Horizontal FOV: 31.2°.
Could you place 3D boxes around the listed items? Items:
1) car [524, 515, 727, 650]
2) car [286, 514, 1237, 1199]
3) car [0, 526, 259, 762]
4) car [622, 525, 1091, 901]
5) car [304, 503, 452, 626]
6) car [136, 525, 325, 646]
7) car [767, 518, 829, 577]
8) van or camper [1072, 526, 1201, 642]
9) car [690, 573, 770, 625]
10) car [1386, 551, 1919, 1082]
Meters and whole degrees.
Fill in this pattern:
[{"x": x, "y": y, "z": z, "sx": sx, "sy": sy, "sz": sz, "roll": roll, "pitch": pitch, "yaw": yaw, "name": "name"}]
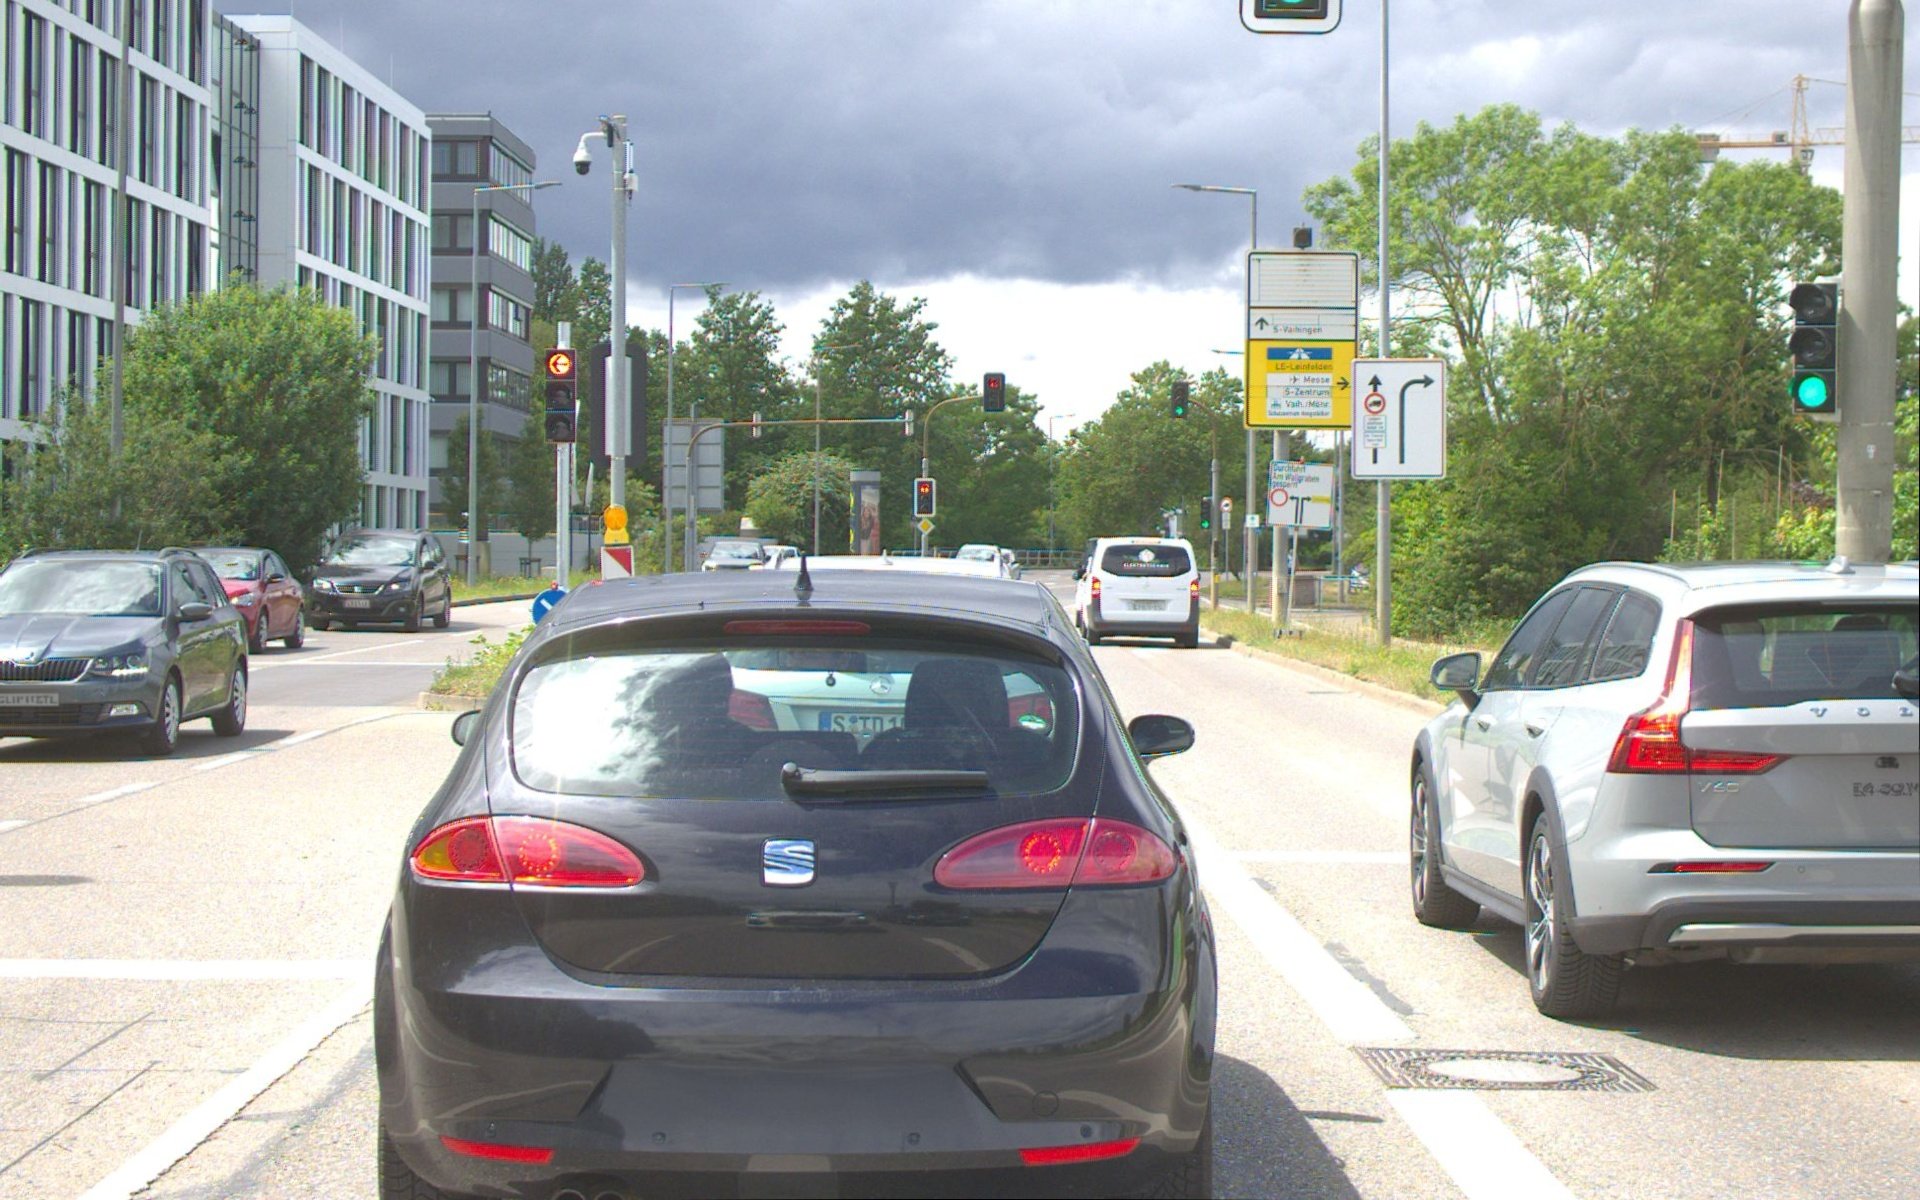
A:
[{"x": -3.749, "y": -0.228, "z": 39.195, "sx": 1.845, "sy": 1.456, "sz": 4.056, "roll": 0, "pitch": 1, "yaw": 1, "name": "car"}, {"x": -0.275, "y": 0.589, "z": 8.393, "sx": 1.748, "sy": 1.479, "sz": 4.000, "roll": -1, "pitch": 0, "yaw": 3, "name": "car"}, {"x": -6.387, "y": 0.255, "z": 25.316, "sx": 1.668, "sy": 1.519, "sz": 4.008, "roll": 1, "pitch": 2, "yaw": -1, "name": "car"}, {"x": -0.491, "y": 0.442, "z": 16.792, "sx": 1.983, "sy": 1.585, "sz": 4.226, "roll": 1, "pitch": 1, "yaw": -1, "name": "car"}, {"x": -9.881, "y": -0.596, "z": 58.655, "sx": 1.993, "sy": 2.007, "sz": 4.482, "roll": 0, "pitch": 0, "yaw": -3, "name": "car"}, {"x": -10.047, "y": -0.202, "z": 47.614, "sx": 1.776, "sy": 1.606, "sz": 4.000, "roll": 0, "pitch": 0, "yaw": 0, "name": "car"}, {"x": -5.577, "y": -1.787, "z": 118.879, "sx": 1.993, "sy": 2.007, "sz": 4.000, "roll": 0, "pitch": 0, "yaw": -1, "name": "car"}, {"x": 2.997, "y": -0.276, "z": 59.092, "sx": 1.899, "sy": 1.919, "sz": 4.000, "roll": 0, "pitch": 0, "yaw": -2, "name": "van or camper"}, {"x": -6.385, "y": -0.033, "z": 95.778, "sx": 1.993, "sy": 1.404, "sz": 4.000, "roll": 0, "pitch": 0, "yaw": -1, "name": "car"}, {"x": 2.769, "y": 0.608, "z": 12.144, "sx": 1.958, "sy": 1.520, "sz": 4.340, "roll": -1, "pitch": 0, "yaw": 0, "name": "car"}]
